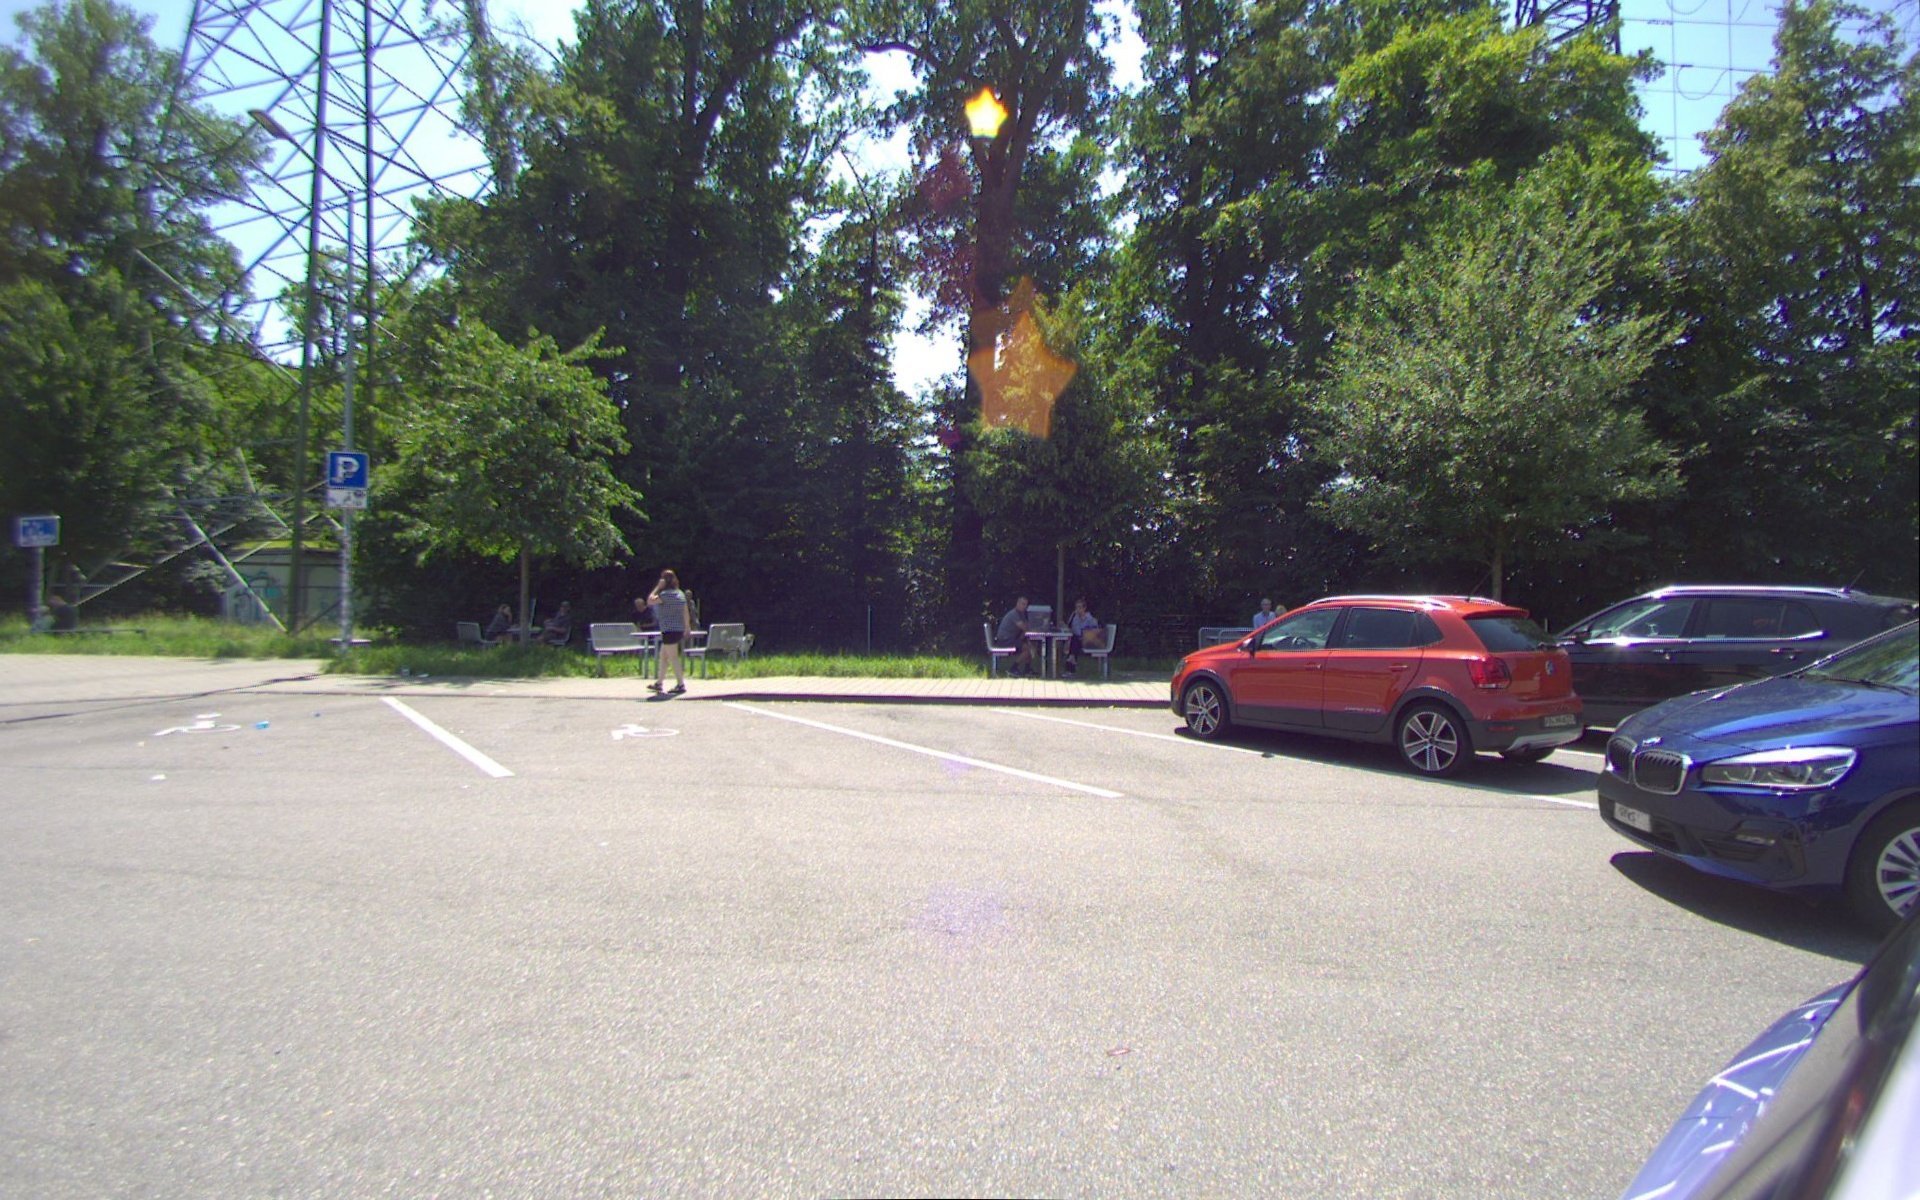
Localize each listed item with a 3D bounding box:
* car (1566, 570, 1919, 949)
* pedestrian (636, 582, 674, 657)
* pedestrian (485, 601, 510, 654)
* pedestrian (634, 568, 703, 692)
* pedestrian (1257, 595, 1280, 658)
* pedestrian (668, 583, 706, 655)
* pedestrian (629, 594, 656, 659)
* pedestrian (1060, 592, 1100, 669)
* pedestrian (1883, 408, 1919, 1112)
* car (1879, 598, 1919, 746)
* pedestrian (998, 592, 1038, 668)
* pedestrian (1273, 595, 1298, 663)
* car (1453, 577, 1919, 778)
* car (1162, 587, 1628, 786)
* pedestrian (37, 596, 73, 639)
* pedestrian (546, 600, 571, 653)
[{"bbox_3d":[5.570,0.664,4.772,4.275,1.572,1.743,1,1,11],"label":"car"},{"bbox_3d":[-6.790,0.426,22.535,0.637,1.625,0.571,0,0,-44],"label":"pedestrian"},{"bbox_3d":[-10.438,0.618,22.840,0.452,1.182,0.447,0,0,-34],"label":"pedestrian"},{"bbox_3d":[-4.037,0.406,14.037,0.703,1.670,0.686,0,0,9],"label":"pedestrian"},{"bbox_3d":[5.815,0.496,19.108,0.350,1.180,0.384,0,0,8],"label":"pedestrian"},{"bbox_3d":[-6.224,0.417,23.101,0.637,1.625,0.571,0,0,-44],"label":"pedestrian"},{"bbox_3d":[-6.691,0.550,21.328,0.438,1.363,0.462,0,0,-5],"label":"pedestrian"},{"bbox_3d":[1.999,0.497,16.838,0.586,1.261,0.498,0,0,16],"label":"pedestrian"},{"bbox_3d":[2.963,0.454,2.441,0.805,1.974,0.914,0,0,23],"label":"pedestrian"},{"bbox_3d":[10.893,0.704,8.993,1.620,1.420,3.826,0,0,-37],"label":"car"},{"bbox_3d":[0.985,0.500,17.095,0.586,1.261,0.445,0,0,16],"label":"pedestrian"},{"bbox_3d":[5.767,0.508,17.932,0.350,1.180,0.384,0,0,8],"label":"pedestrian"},{"bbox_3d":[7.092,0.594,9.847,1.620,1.575,3.826,0,0,-37],"label":"car"},{"bbox_3d":[3.876,0.636,9.631,1.619,1.487,3.830,0,0,-33],"label":"car"},{"bbox_3d":[-20.956,0.402,23.439,0.452,0.987,0.447,0,0,-2],"label":"pedestrian"},{"bbox_3d":[-9.349,0.619,23.581,0.452,1.209,0.447,0,0,-34],"label":"pedestrian"}]
